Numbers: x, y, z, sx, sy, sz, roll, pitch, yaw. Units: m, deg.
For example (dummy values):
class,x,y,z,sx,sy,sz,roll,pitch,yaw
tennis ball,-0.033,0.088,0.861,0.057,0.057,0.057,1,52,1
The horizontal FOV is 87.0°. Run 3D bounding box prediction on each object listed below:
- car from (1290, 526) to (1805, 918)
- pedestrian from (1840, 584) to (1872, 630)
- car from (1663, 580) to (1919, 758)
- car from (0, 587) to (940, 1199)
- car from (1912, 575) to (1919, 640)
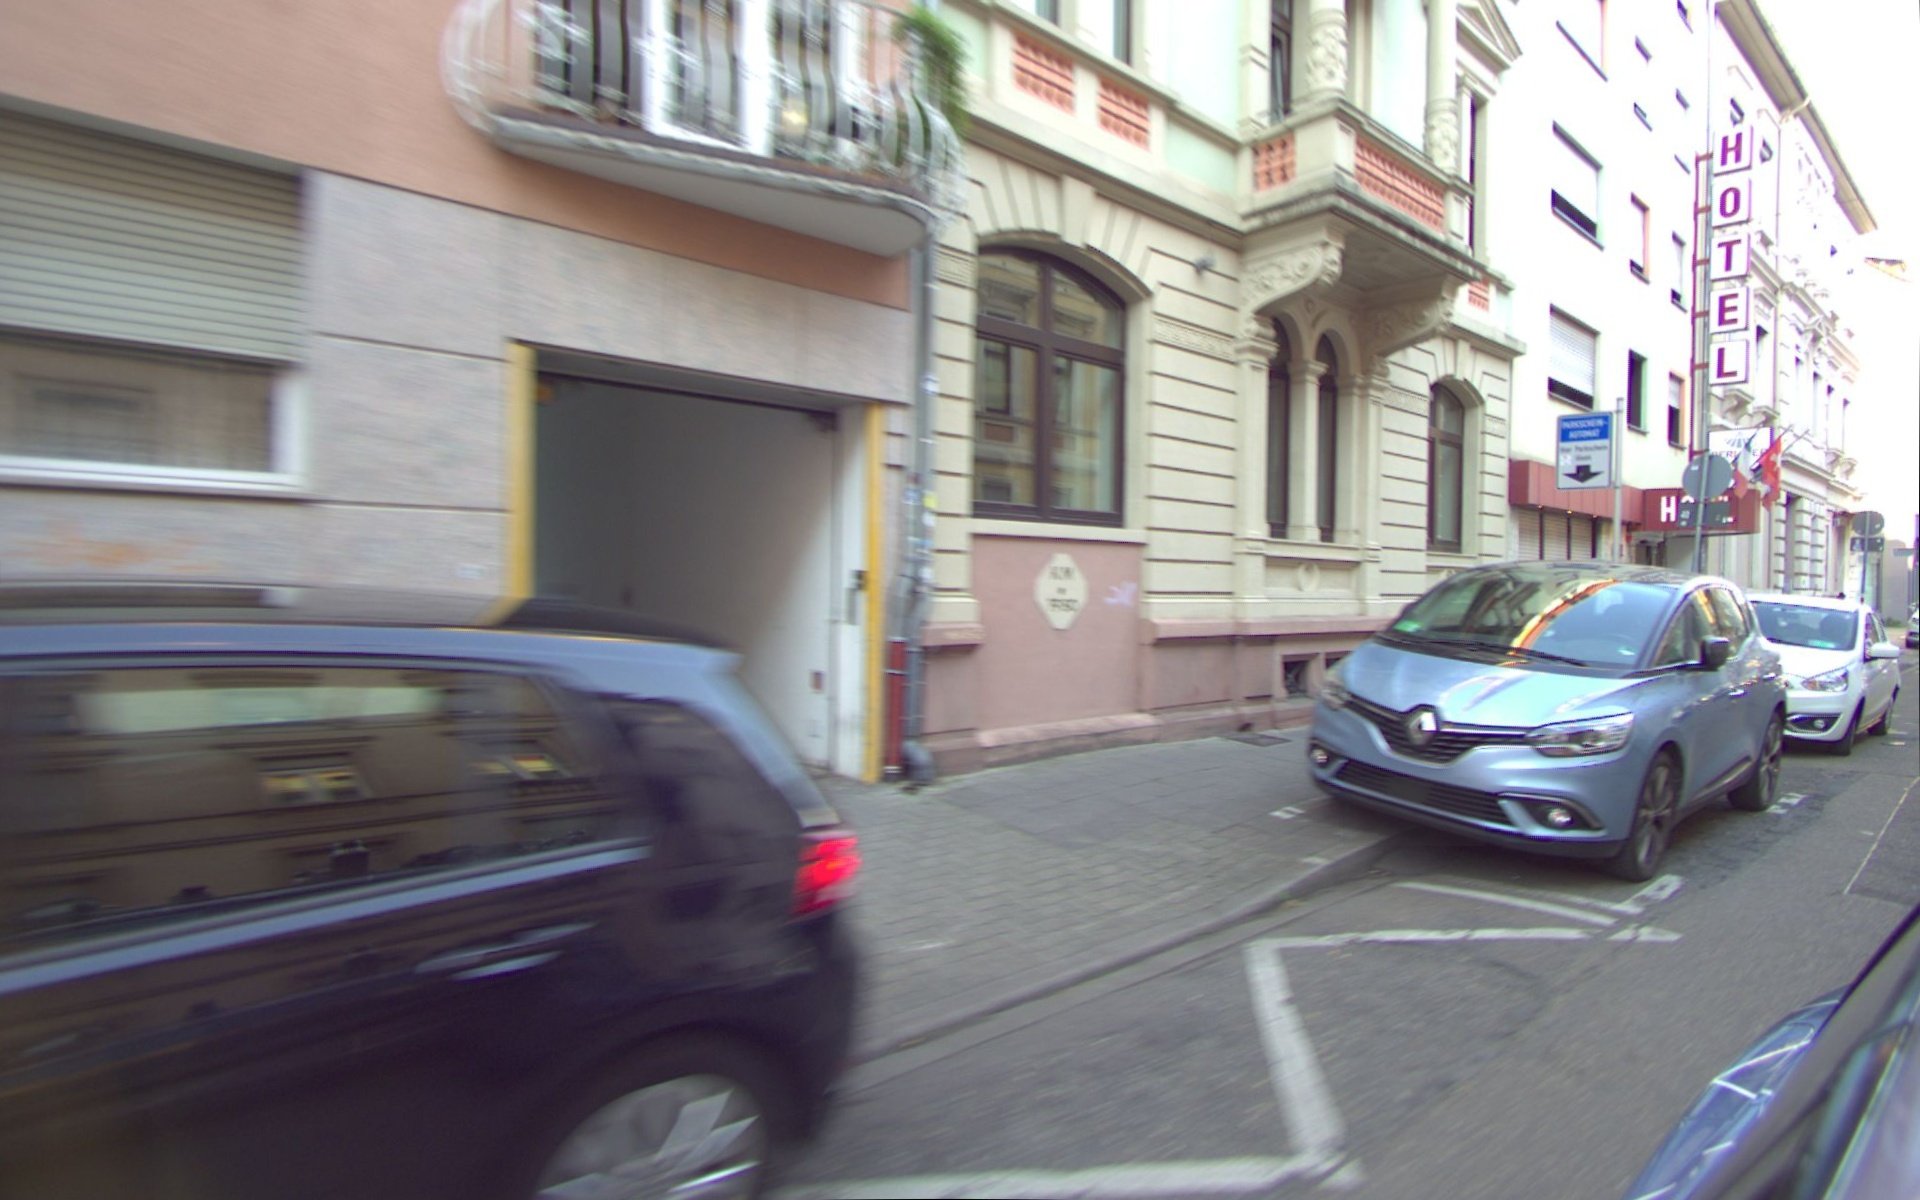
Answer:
class,x,y,z,sx,sy,sz,roll,pitch,yaw
car,3.972,0.532,6.535,4.038,1.763,1.692,0,1,-41
pedestrian,28.540,0.206,32.243,0.475,1.441,0.696,0,0,-40
car,8.980,0.598,10.845,3.527,1.598,1.572,0,1,-41
car,-2.122,0.721,1.644,4.060,1.476,1.692,0,1,-41
car,27.444,0.277,27.385,4.281,1.715,1.842,0,5,-40
